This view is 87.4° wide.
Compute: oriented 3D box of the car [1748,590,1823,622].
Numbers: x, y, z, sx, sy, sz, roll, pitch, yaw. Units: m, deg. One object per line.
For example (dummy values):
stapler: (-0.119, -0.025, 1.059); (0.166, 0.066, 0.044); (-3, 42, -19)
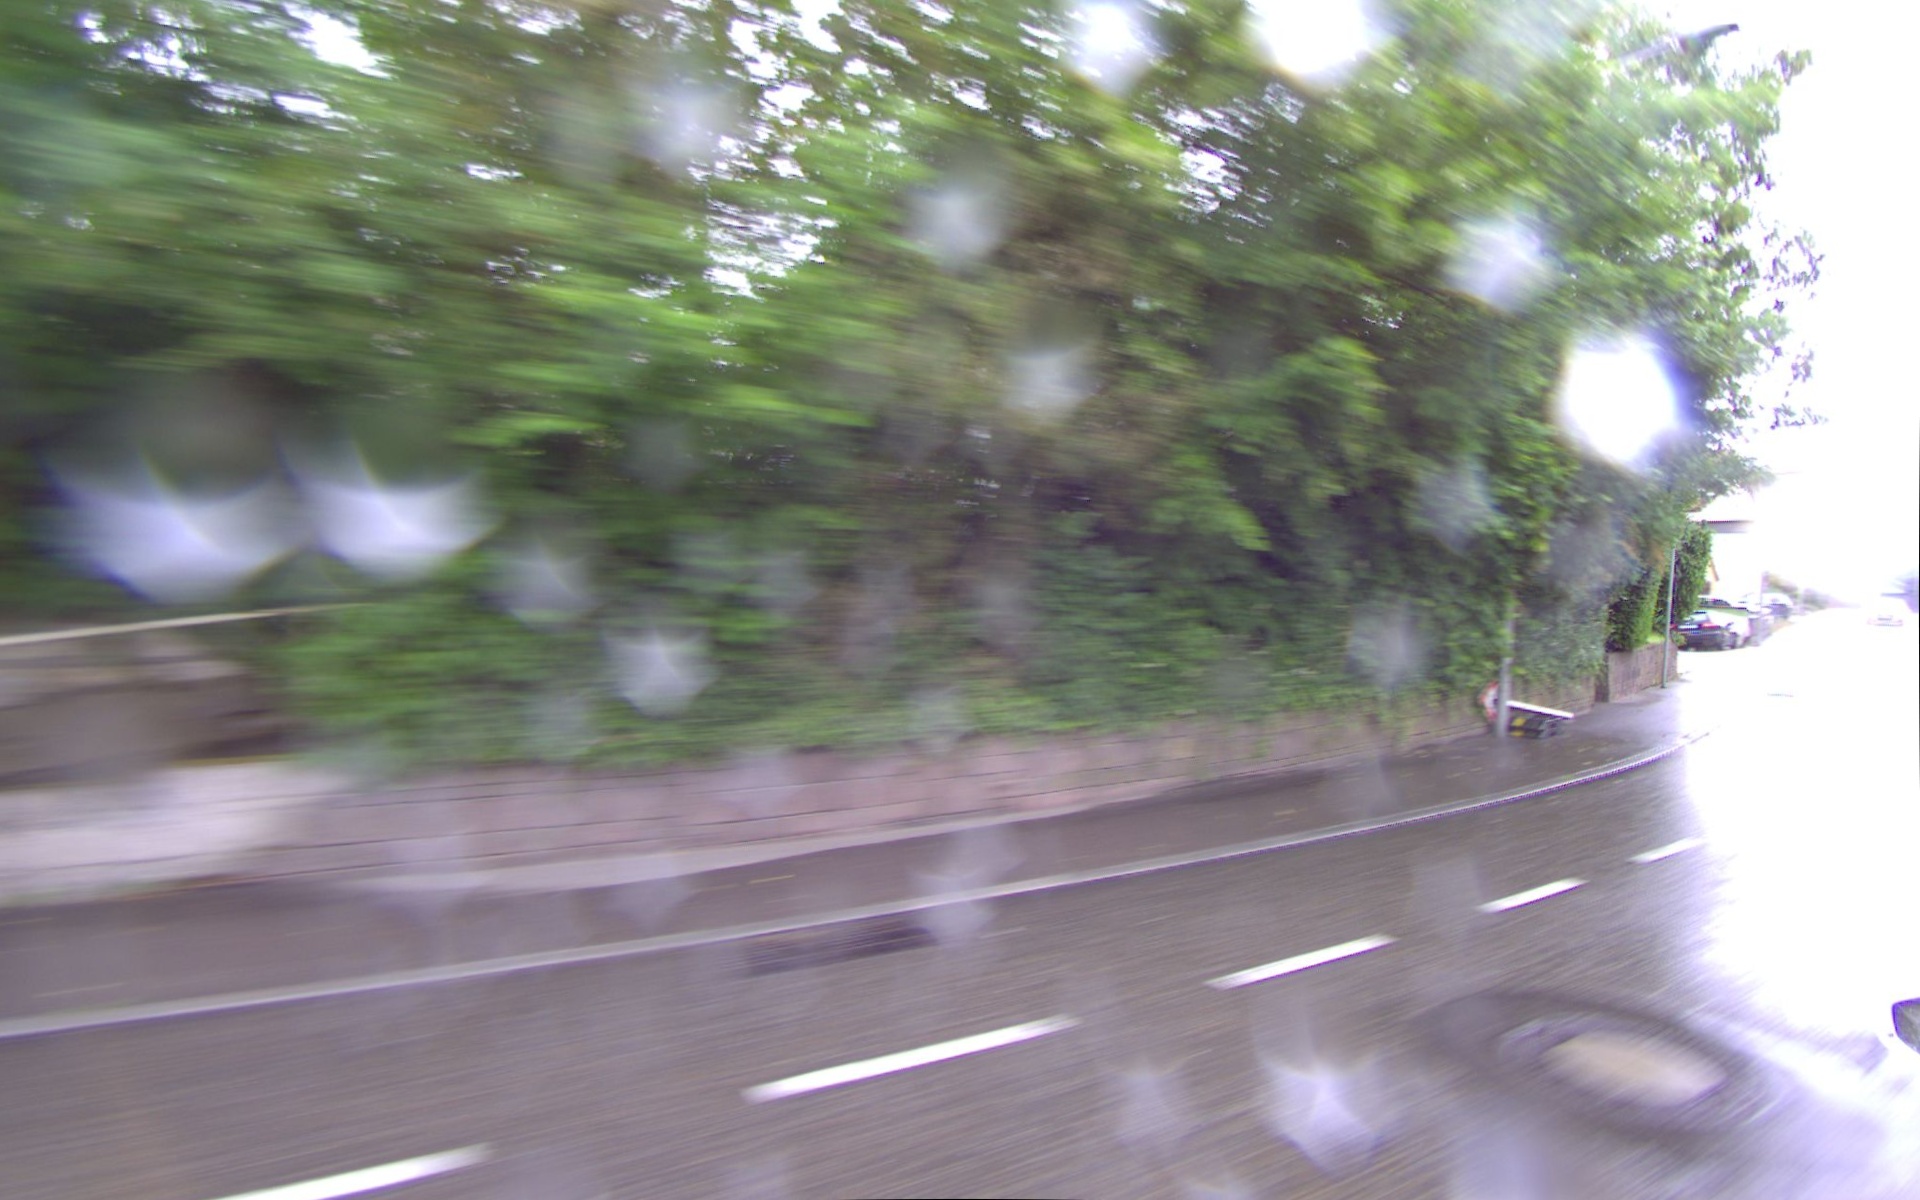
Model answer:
car: (46.336, 0.303, 56.369); (4.912, 1.681, 1.961); (0, 1, -35)

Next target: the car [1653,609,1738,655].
car: (26.255, 1.091, 35.812); (1.875, 1.460, 4.418); (-1, 0, 44)

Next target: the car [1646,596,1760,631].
car: (35.039, 0.600, 47.463); (1.881, 1.525, 3.961); (0, 1, -35)

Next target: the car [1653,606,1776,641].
car: (36.883, 1.092, 49.193); (1.881, 1.525, 4.467); (0, 1, -35)

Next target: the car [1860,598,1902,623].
car: (52.561, 0.592, 57.322); (1.685, 1.406, 4.026); (-1, -1, 44)
